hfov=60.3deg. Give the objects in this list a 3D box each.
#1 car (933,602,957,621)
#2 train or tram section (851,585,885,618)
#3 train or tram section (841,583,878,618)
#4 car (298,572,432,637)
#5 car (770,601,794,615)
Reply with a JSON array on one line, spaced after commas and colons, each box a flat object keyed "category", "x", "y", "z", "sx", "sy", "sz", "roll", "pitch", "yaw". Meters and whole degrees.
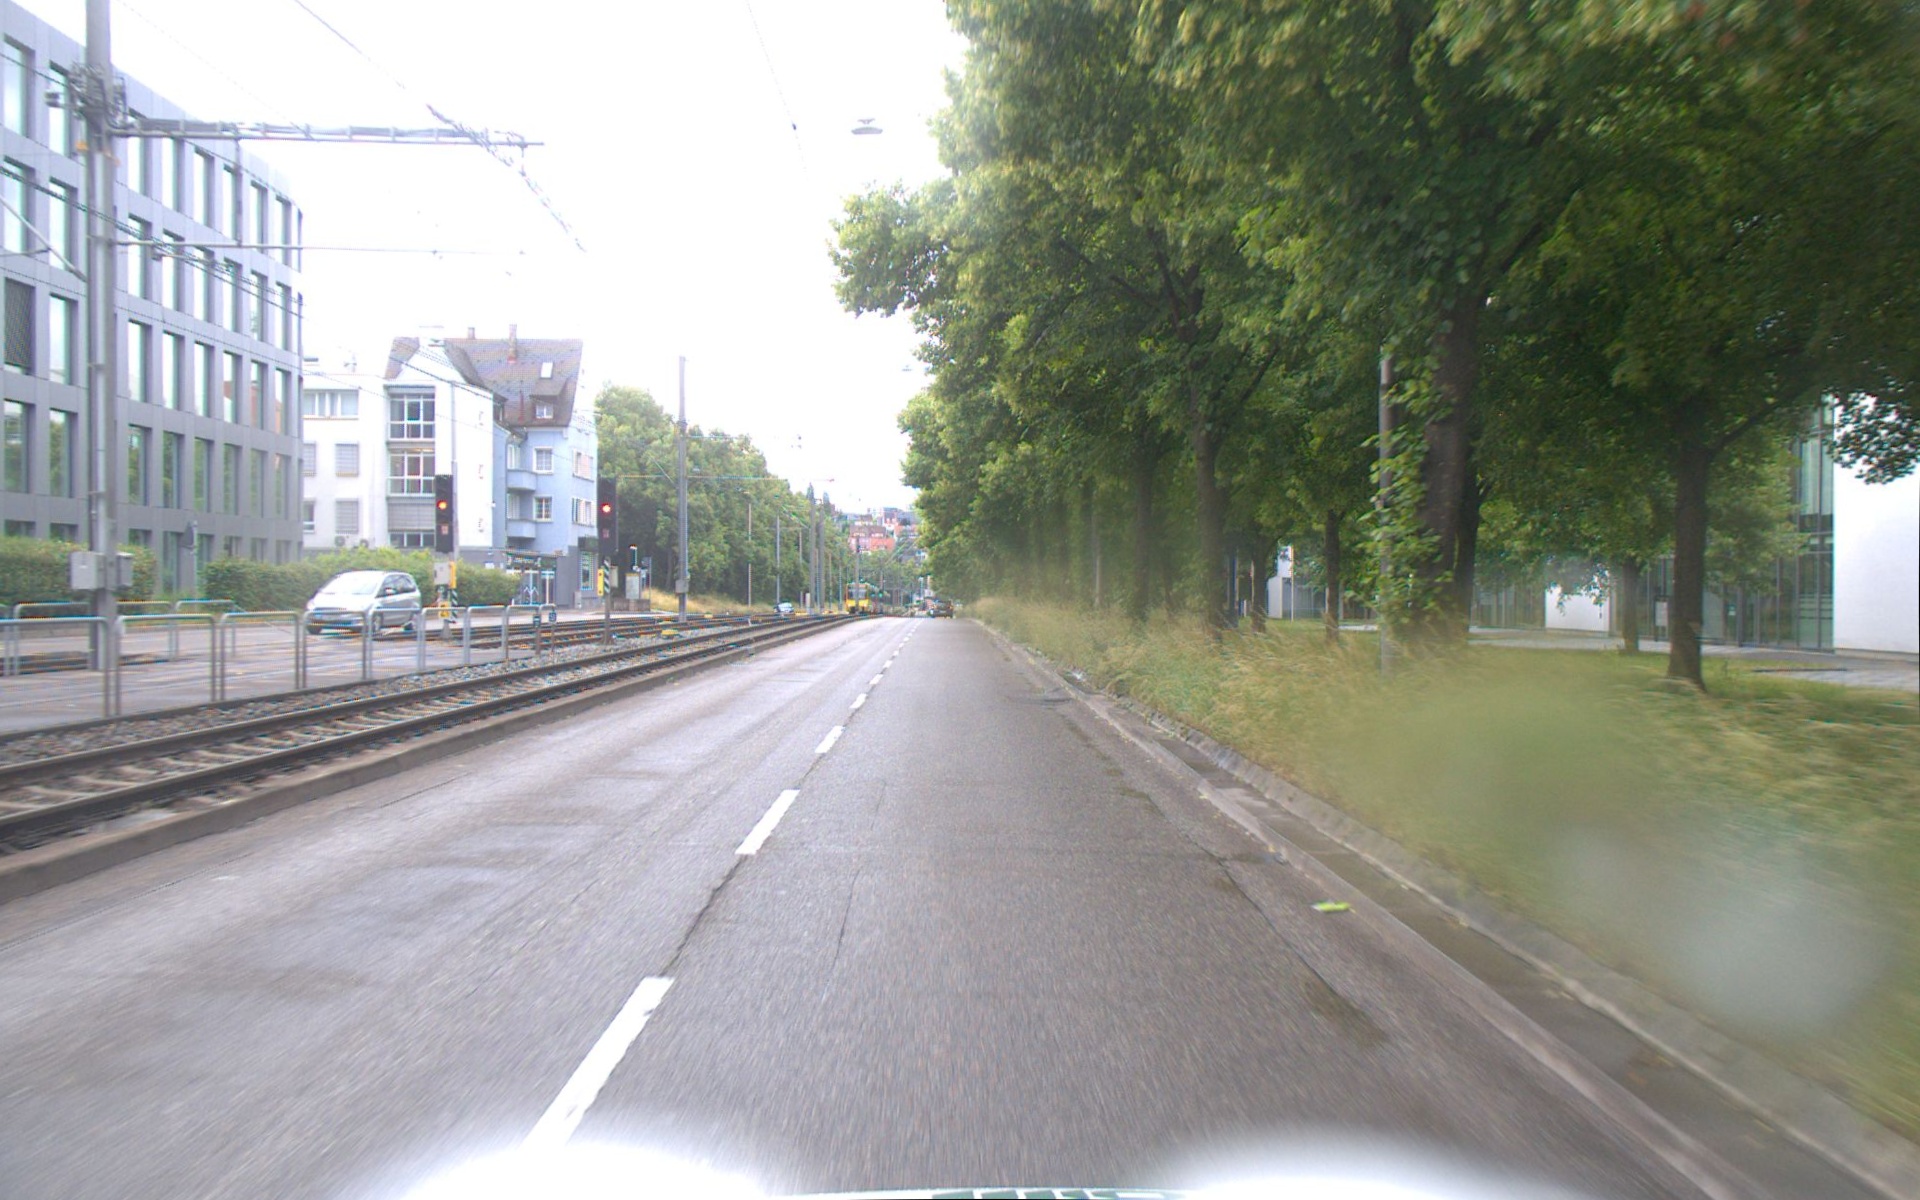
[{"category": "car", "x": -1.210, "y": 0.903, "z": 134.871, "sx": 1.942, "sy": 1.466, "sz": 4.473, "roll": 0, "pitch": 0, "yaw": -1}, {"category": "train or tram section", "x": -11.229, "y": 0.282, "z": 203.739, "sx": 3.148, "sy": 3.863, "sz": 14.789, "roll": 0, "pitch": -1, "yaw": 1}, {"category": "train or tram section", "x": -11.409, "y": 0.127, "z": 188.926, "sx": 3.148, "sy": 3.863, "sz": 14.789, "roll": 0, "pitch": -1, "yaw": 1}, {"category": "car", "x": -16.300, "y": 0.105, "z": 45.583, "sx": 1.863, "sy": 1.673, "sz": 4.884, "roll": 0, "pitch": 0, "yaw": 1}, {"category": "car", "x": -17.843, "y": 0.800, "z": 165.745, "sx": 1.863, "sy": 1.348, "sz": 4.826, "roll": 0, "pitch": -1, "yaw": 1}]
